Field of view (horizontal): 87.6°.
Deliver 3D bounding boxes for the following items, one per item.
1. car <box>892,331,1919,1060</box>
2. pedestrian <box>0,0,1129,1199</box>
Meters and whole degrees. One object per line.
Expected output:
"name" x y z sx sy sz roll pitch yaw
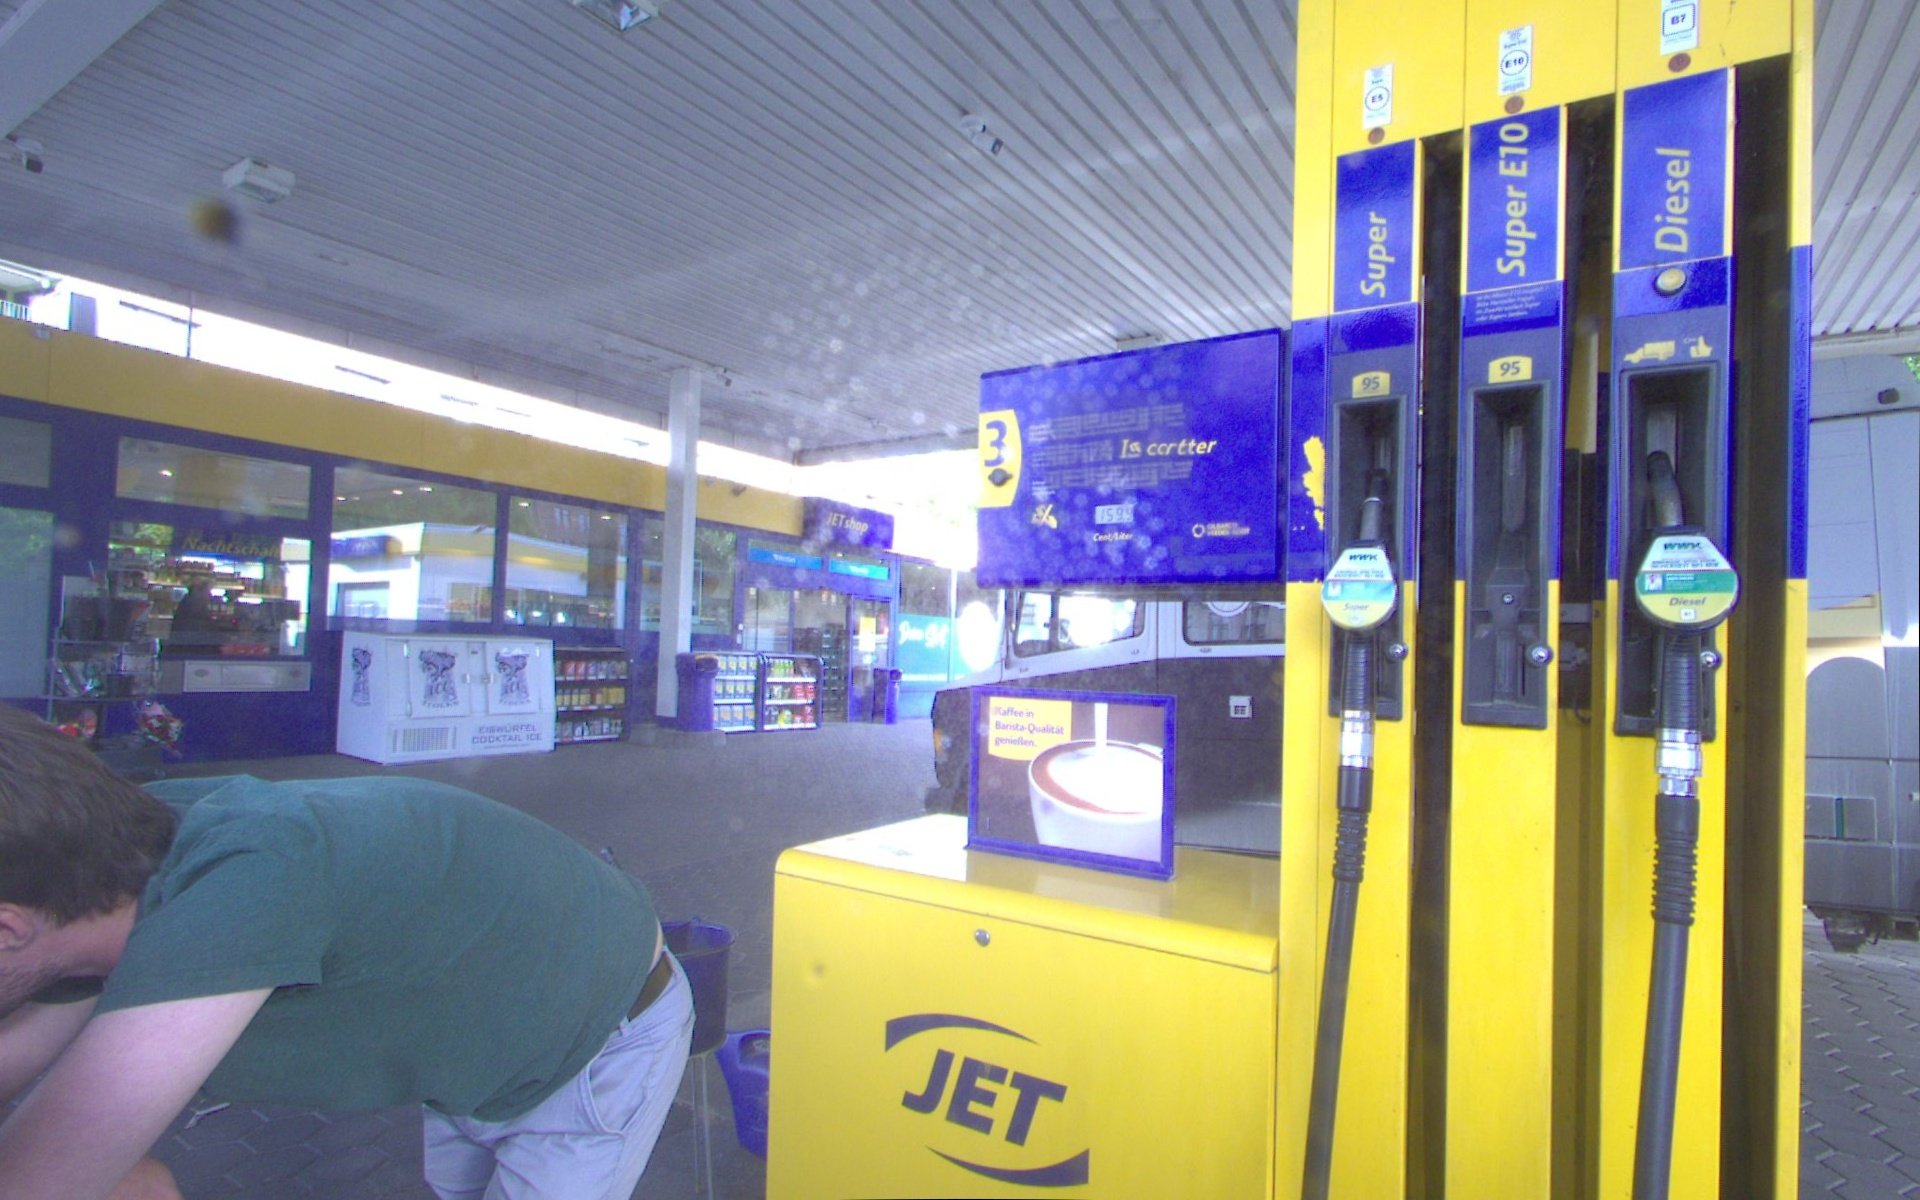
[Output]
"car" 2.349 0.439 6.014 5.271 2.759 2.193 -1 -3 34
"pedestrian" -0.523 0.582 1.097 0.981 1.750 1.175 -2 -2 36
